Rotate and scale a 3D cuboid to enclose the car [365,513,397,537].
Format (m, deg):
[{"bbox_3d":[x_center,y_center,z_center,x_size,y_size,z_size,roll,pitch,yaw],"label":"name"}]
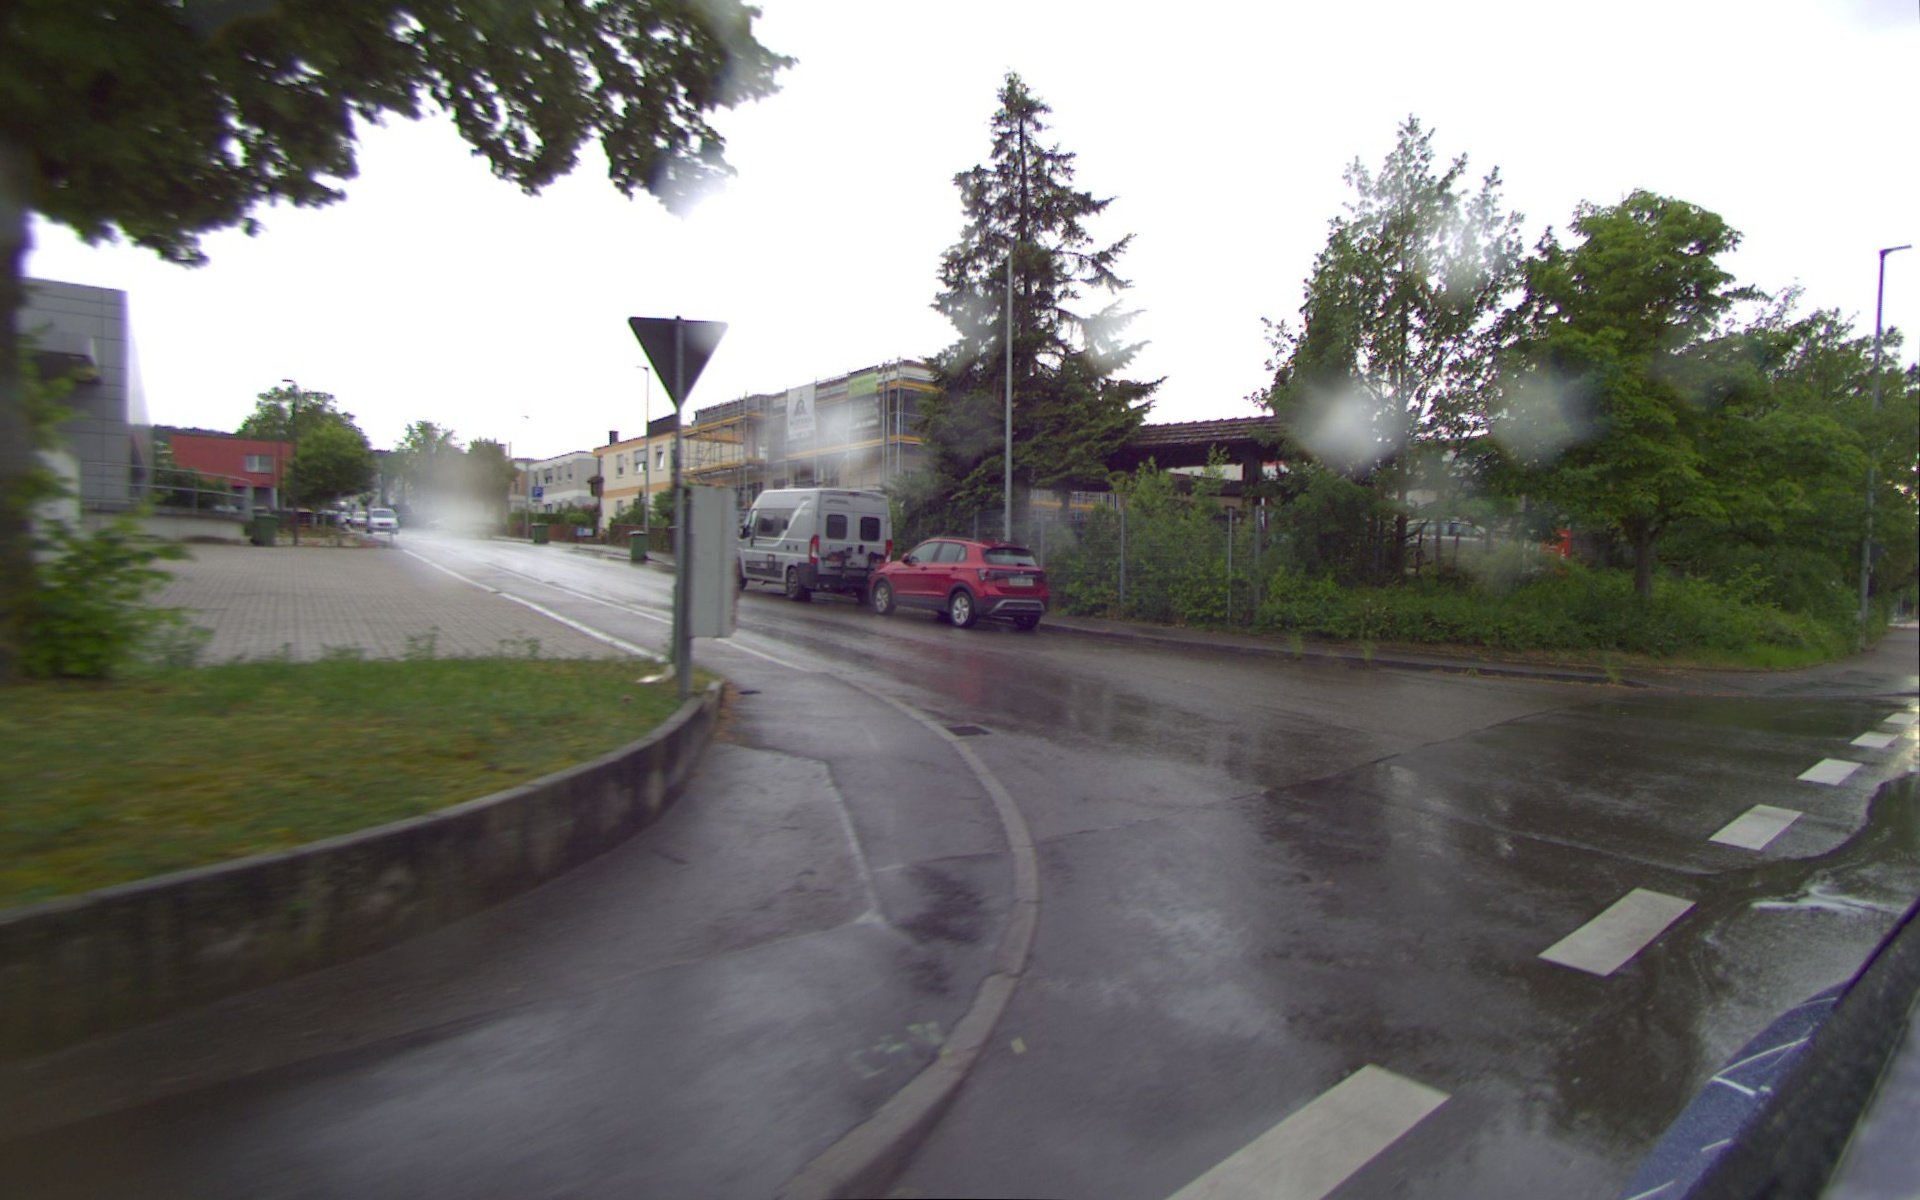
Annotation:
[{"bbox_3d":[-43.371,-5.582,75.756,1.607,1.438,3.998,1,0,-36],"label":"car"}]

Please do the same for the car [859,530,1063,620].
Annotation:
[{"bbox_3d":[-0.075,-0.473,19.102,1.737,1.517,3.888,1,1,-40],"label":"car"}]

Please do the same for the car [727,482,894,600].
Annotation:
[{"bbox_3d":[-3.659,-1.452,23.834,1.961,2.467,4.926,1,5,-33],"label":"car"}]

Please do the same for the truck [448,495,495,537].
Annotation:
[{"bbox_3d":[-32.448,-5.512,67.192,2.128,2.267,5.885,1,0,-32],"label":"truck"}]
